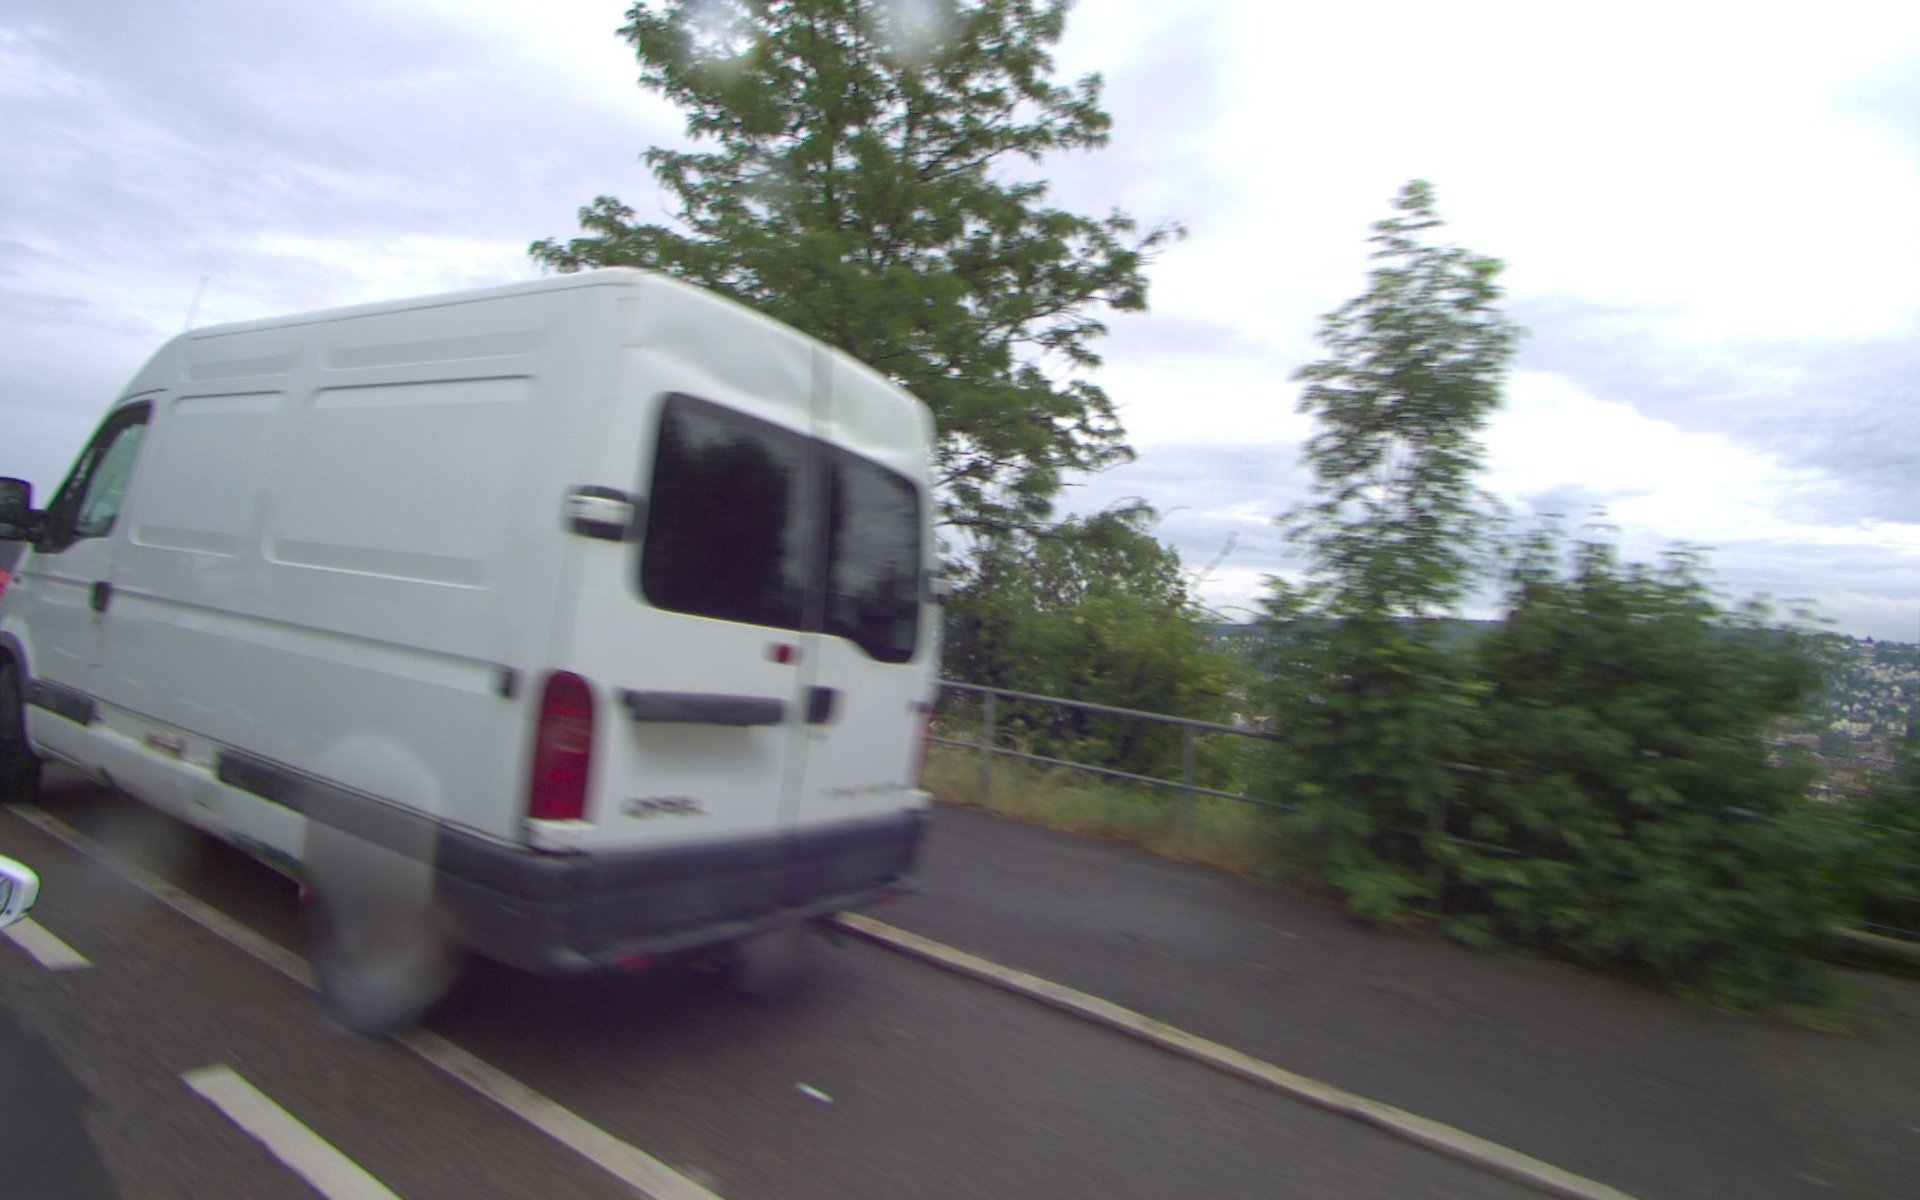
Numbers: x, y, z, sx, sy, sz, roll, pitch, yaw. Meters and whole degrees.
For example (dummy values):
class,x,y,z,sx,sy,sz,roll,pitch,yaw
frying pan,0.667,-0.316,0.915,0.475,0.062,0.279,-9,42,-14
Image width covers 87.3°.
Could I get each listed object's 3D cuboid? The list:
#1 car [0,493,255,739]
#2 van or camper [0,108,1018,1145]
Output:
class,x,y,z,sx,sy,sz,roll,pitch,yaw
car,-7.576,-0.054,7.905,4.143,1.559,1.623,7,0,30
van or camper,-2.763,-0.106,4.948,5.504,2.692,2.077,7,-1,32
